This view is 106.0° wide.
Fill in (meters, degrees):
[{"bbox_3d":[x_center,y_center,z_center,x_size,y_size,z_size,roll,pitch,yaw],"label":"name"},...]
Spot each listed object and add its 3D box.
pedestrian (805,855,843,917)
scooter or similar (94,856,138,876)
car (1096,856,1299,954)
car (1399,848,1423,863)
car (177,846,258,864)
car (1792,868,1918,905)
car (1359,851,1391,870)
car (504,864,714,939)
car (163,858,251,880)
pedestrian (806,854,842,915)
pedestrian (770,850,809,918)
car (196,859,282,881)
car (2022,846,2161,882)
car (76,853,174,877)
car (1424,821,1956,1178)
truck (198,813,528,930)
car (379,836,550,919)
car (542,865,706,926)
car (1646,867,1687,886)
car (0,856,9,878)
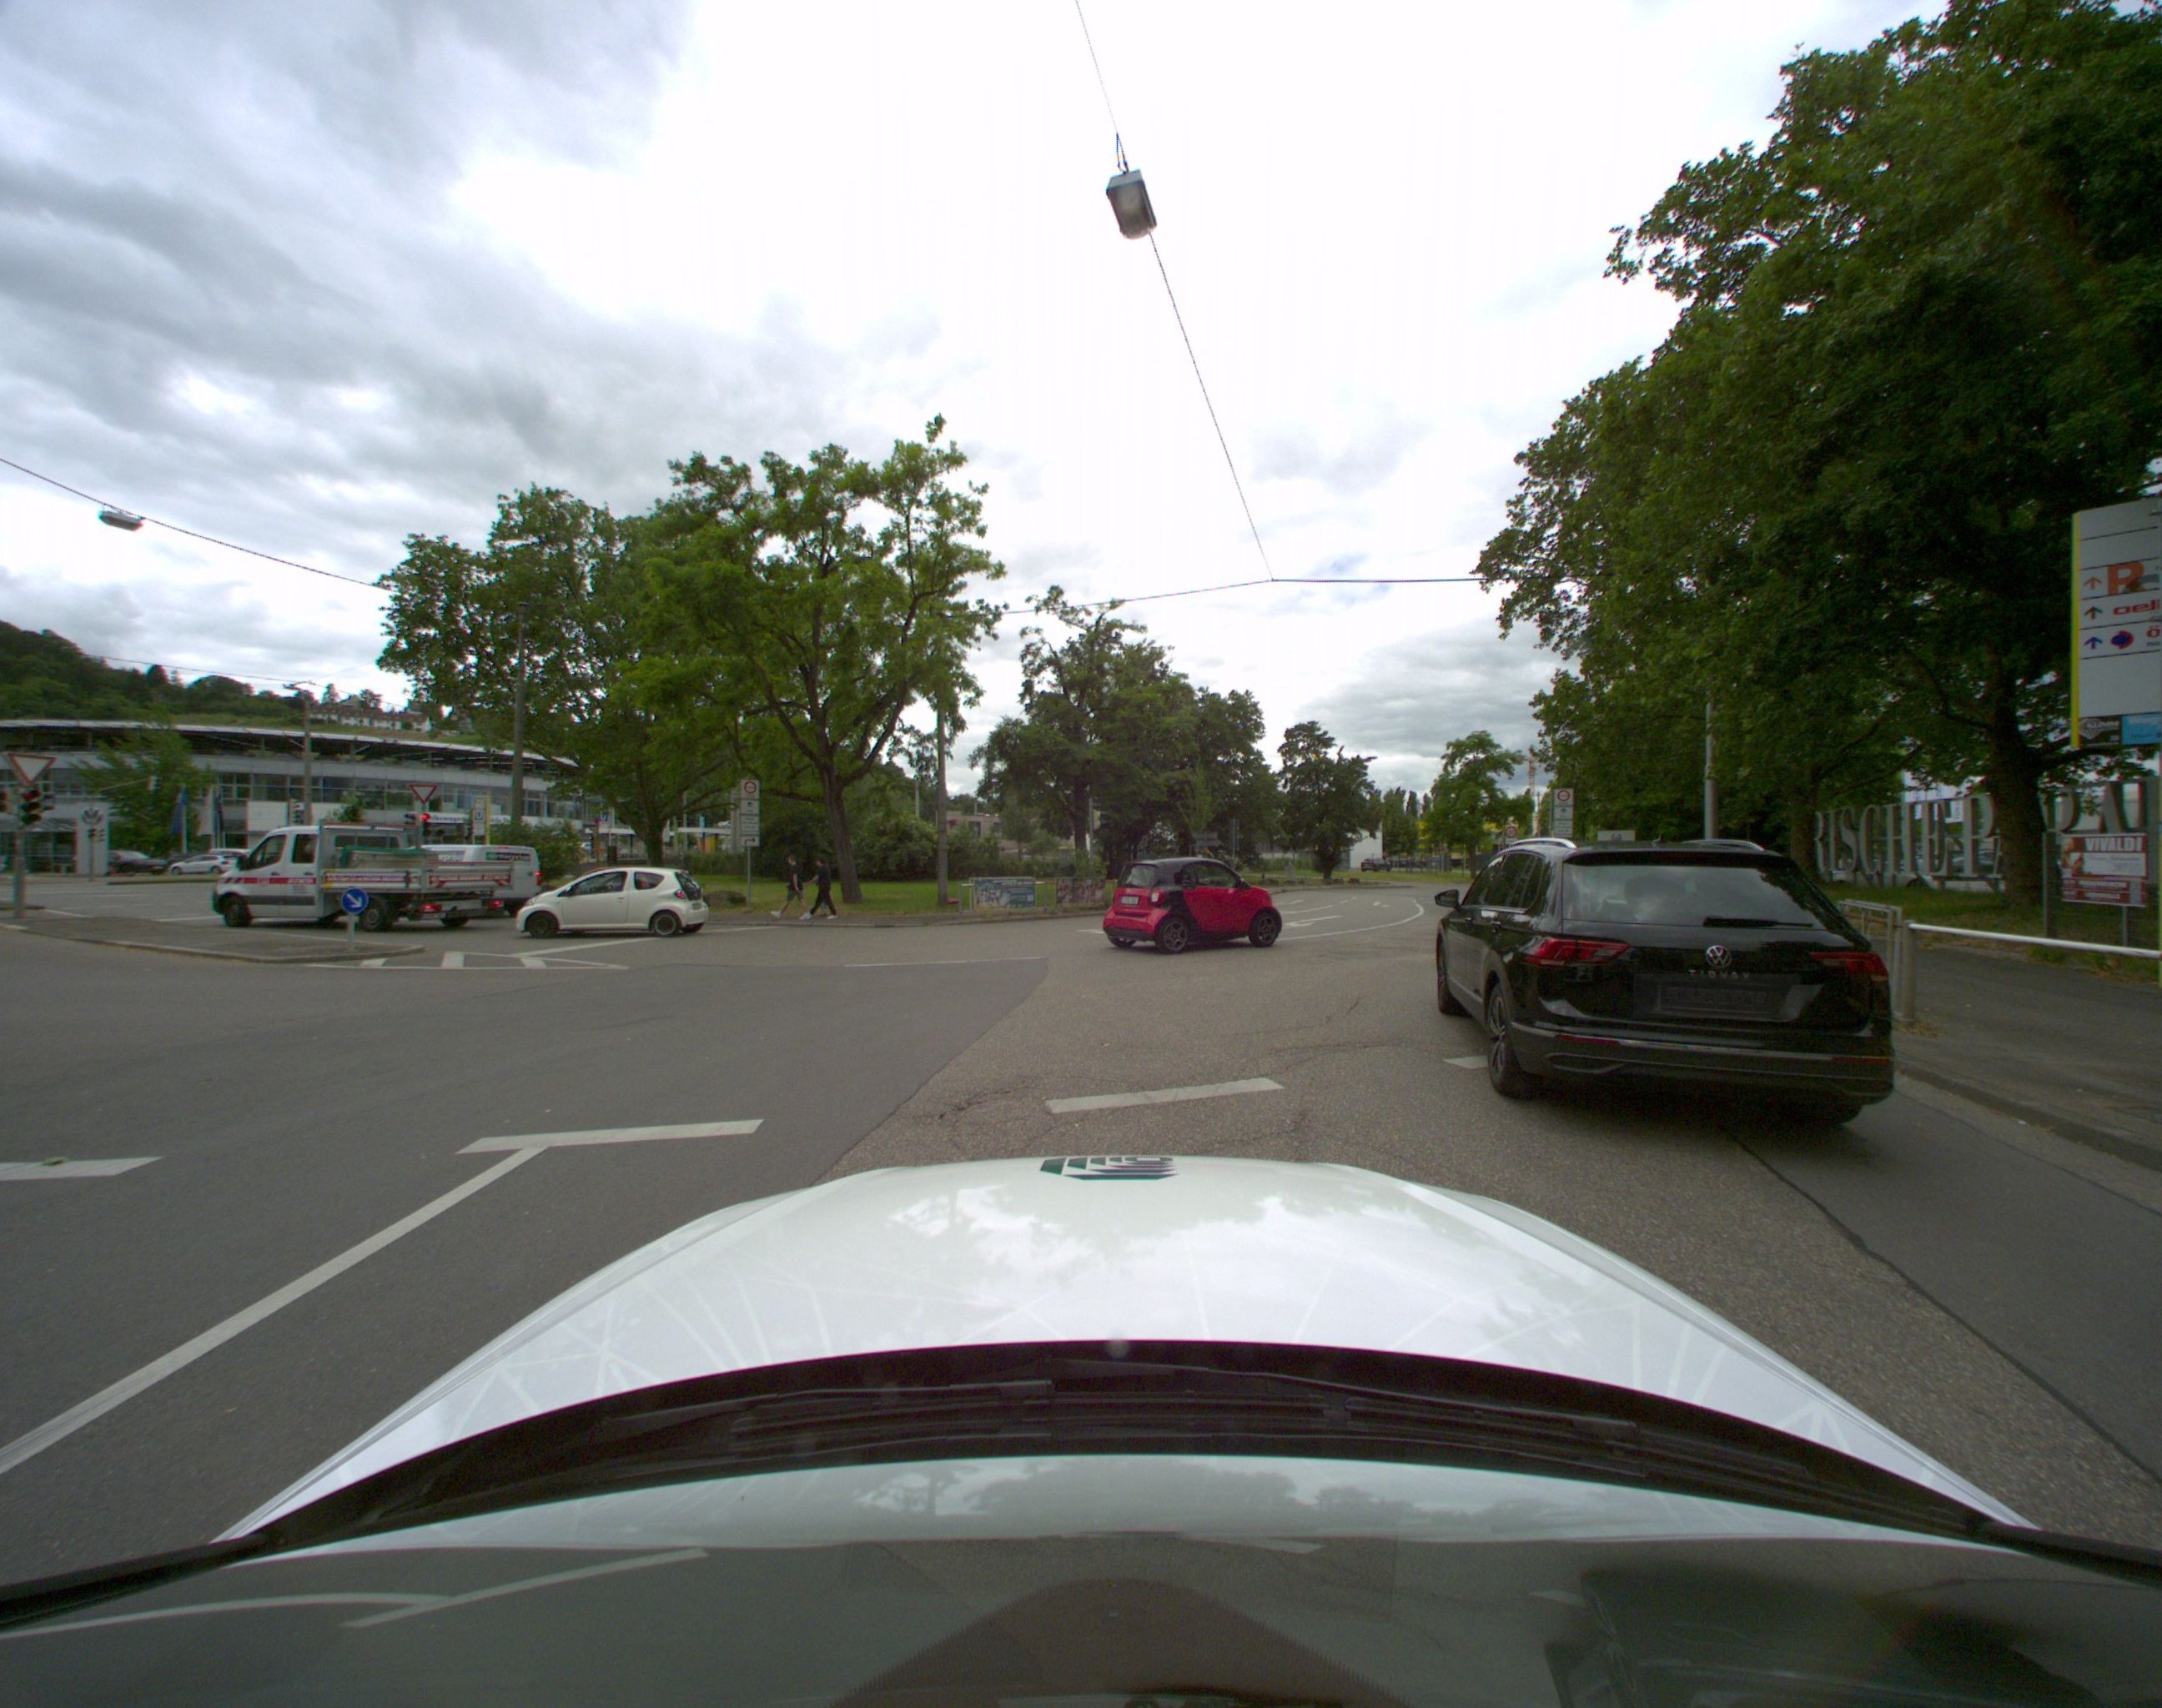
[{"bbox_3d":[-7.206,0.884,22.832,0.782,1.714,0.696,0,0,6],"label":"pedestrian"},{"bbox_3d":[-59.804,0.726,50.486,0.461,1.178,1.684,0,0,32],"label":"scooter or similar"},{"bbox_3d":[1.982,0.776,13.858,3.029,1.464,1.701,0,0,-30],"label":"car"},{"bbox_3d":[46.511,0.225,114.822,1.945,2.013,4.245,1,0,39],"label":"car"},{"bbox_3d":[-70.756,0.072,66.802,4.215,1.492,1.784,0,0,-20],"label":"car"},{"bbox_3d":[33.658,1.370,35.510,3.687,1.505,1.488,0,0,19],"label":"car"},{"bbox_3d":[31.474,0.668,87.201,1.945,2.013,4.245,1,0,39],"label":"car"},{"bbox_3d":[-9.785,0.945,17.107,3.416,1.432,1.640,0,0,-7],"label":"car"},{"bbox_3d":[-61.474,1.042,57.339,4.004,1.500,1.772,0,0,-7],"label":"car"},{"bbox_3d":[-7.458,0.872,23.650,0.782,1.740,0.696,0,0,6],"label":"pedestrian"},{"bbox_3d":[-8.033,0.811,22.459,0.782,1.857,0.696,0,0,6],"label":"pedestrian"},{"bbox_3d":[-61.267,1.153,59.310,4.192,1.492,1.794,0,0,-4],"label":"car"},{"bbox_3d":[46.568,0.428,37.020,4.584,1.558,2.011,0,0,23],"label":"car"},{"bbox_3d":[-61.751,0.689,52.678,3.866,1.500,1.771,0,0,-8],"label":"car"},{"bbox_3d":[3.771,0.647,6.034,1.829,1.635,4.204,1,1,17],"label":"car"},{"bbox_3d":[-16.166,0.365,18.480,5.970,2.397,2.437,0,0,11],"label":"truck"},{"bbox_3d":[-17.135,0.583,22.594,4.701,2.107,2.008,0,0,28],"label":"car"},{"bbox_3d":[-11.602,1.007,20.758,3.395,1.457,1.650,0,-1,13],"label":"car"},{"bbox_3d":[47.260,1.801,65.682,3.386,1.490,1.698,1,0,-36],"label":"car"},{"bbox_3d":[-77.684,0.906,55.843,1.753,1.533,4.840,0,0,27],"label":"car"}]
